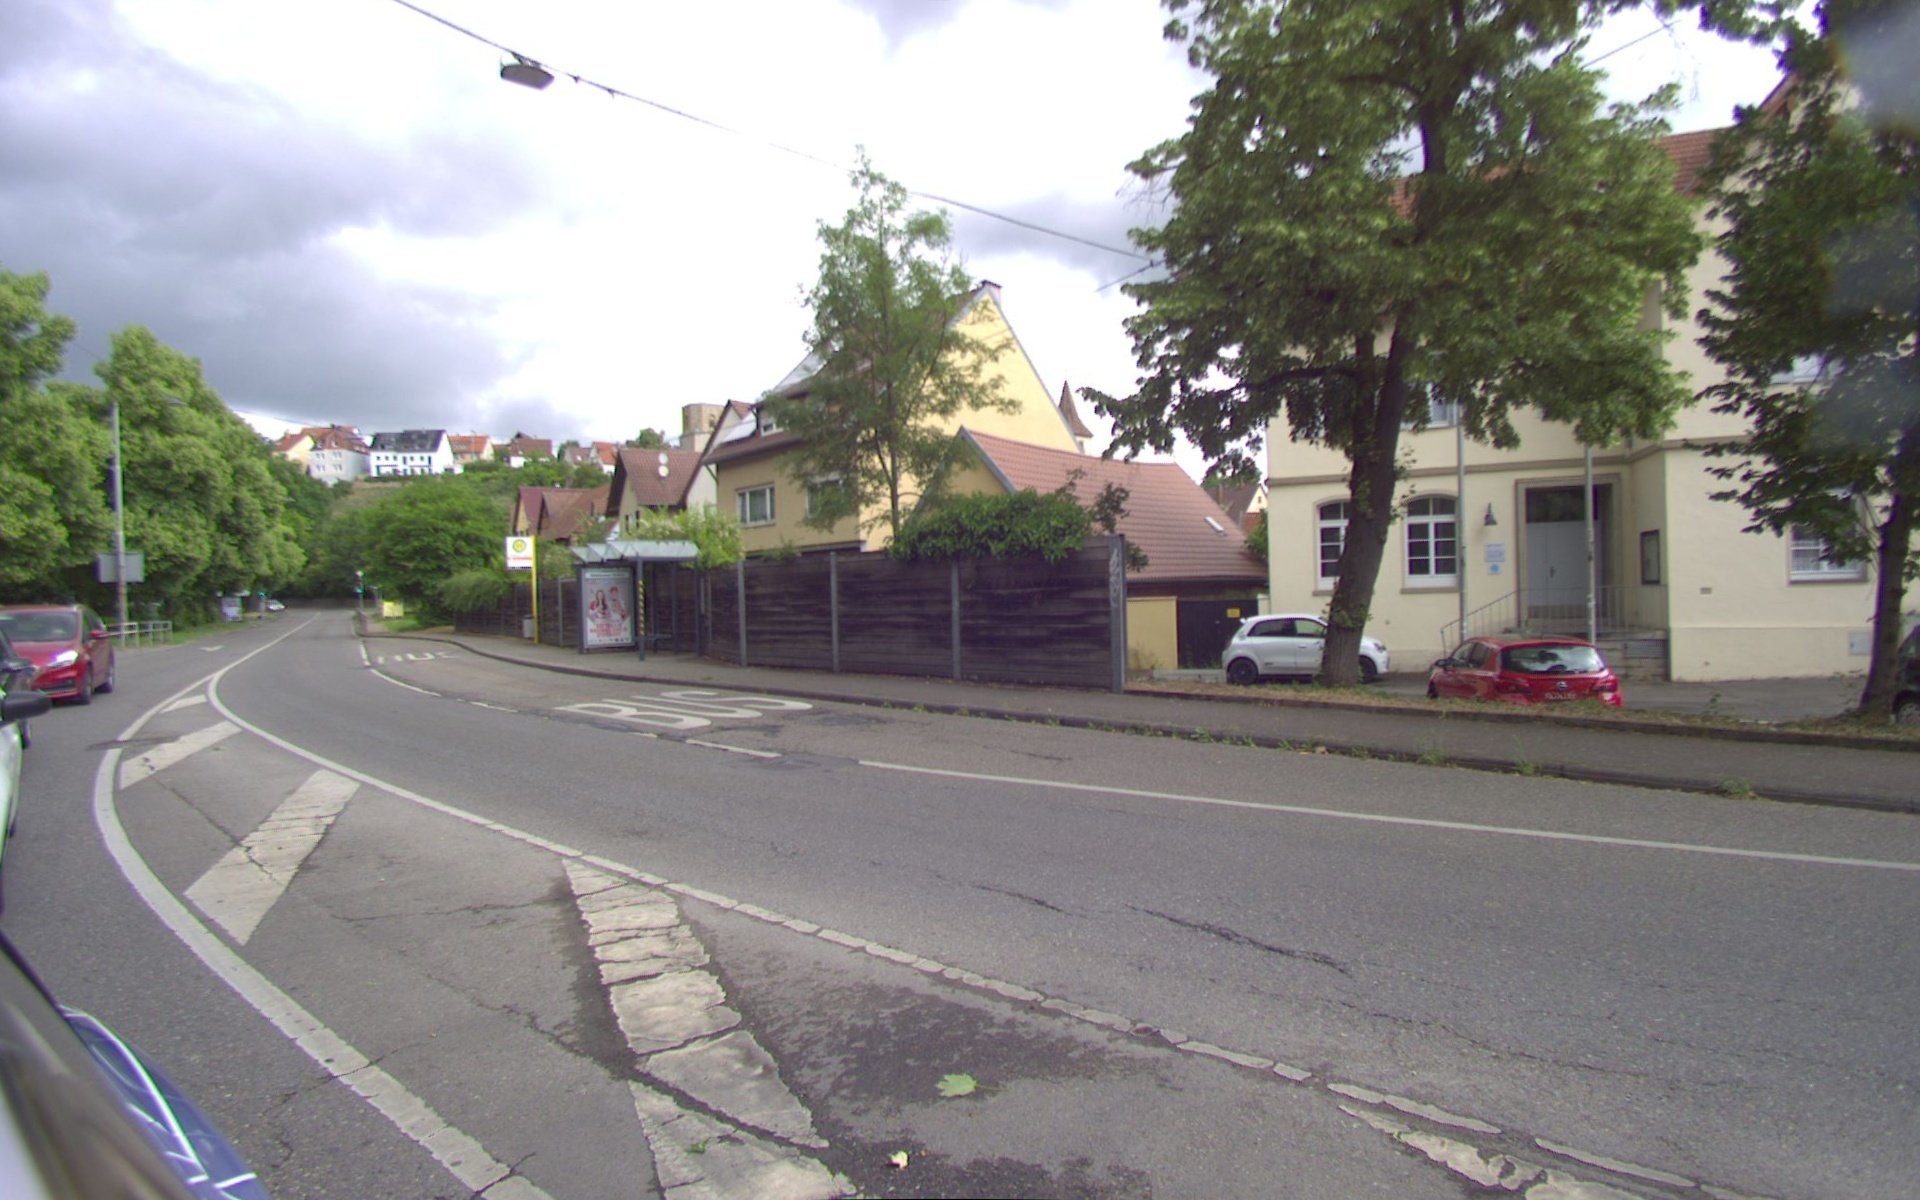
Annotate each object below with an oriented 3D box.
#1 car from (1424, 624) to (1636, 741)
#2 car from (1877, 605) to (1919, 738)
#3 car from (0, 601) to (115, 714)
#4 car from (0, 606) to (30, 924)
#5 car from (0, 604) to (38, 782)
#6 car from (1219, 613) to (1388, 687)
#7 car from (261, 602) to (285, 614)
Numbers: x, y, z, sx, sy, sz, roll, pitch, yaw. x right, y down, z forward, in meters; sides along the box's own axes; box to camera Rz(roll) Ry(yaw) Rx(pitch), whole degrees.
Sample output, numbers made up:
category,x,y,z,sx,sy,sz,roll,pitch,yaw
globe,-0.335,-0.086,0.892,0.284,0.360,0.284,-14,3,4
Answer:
category,x,y,z,sx,sy,sz,roll,pitch,yaw
car,8.125,1.102,14.774,1.590,1.389,3.544,-1,0,10
car,12.698,0.887,11.592,1.586,1.644,3.093,-1,0,2
car,-15.526,0.891,16.880,1.799,1.685,4.068,-1,0,-34
car,-6.032,0.813,5.282,1.594,1.525,3.610,-1,0,-41
car,-10.225,0.850,9.861,1.699,1.559,3.787,-1,0,-41
car,7.746,1.105,22.930,3.487,1.528,1.581,-1,0,20
car,-94.672,1.081,139.493,3.998,1.652,1.822,-1,0,41
